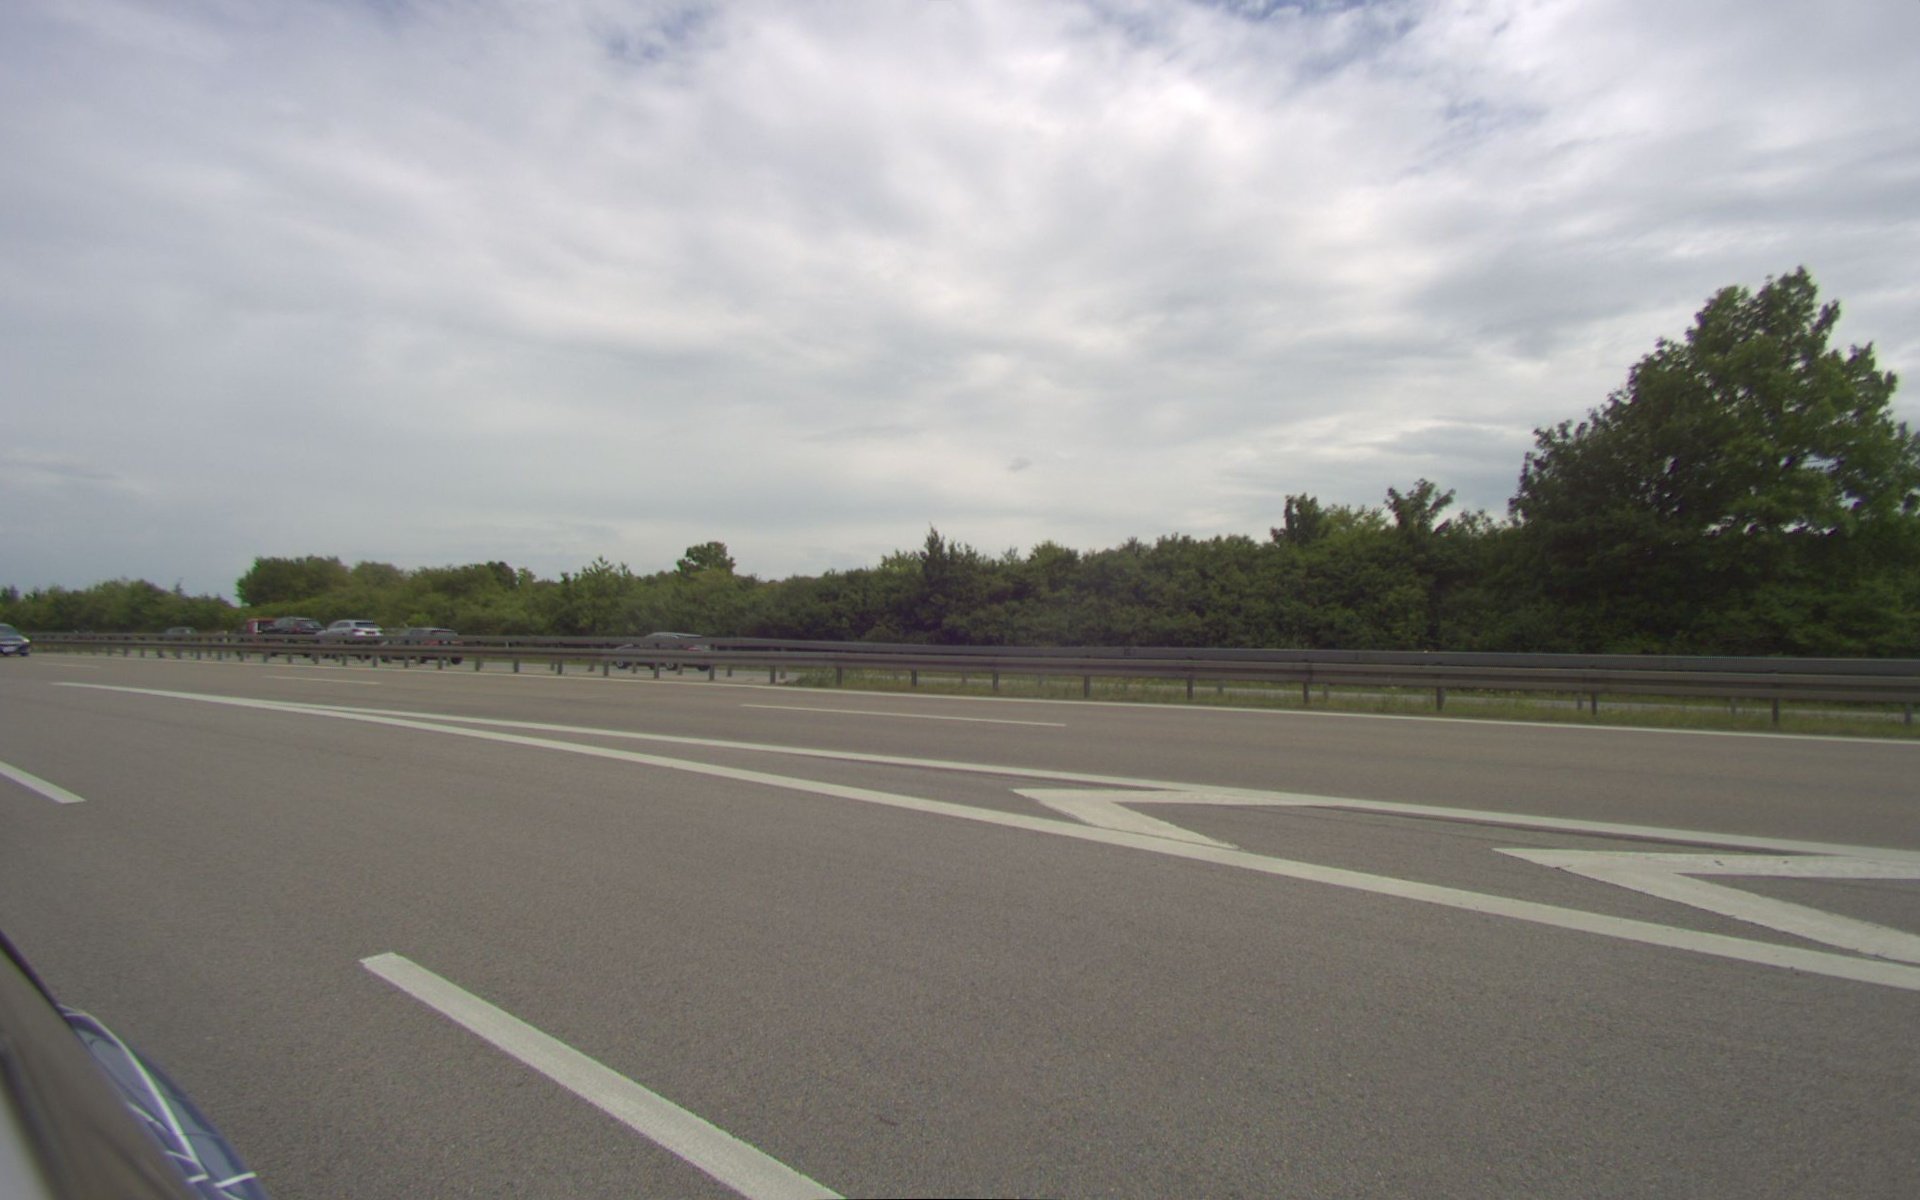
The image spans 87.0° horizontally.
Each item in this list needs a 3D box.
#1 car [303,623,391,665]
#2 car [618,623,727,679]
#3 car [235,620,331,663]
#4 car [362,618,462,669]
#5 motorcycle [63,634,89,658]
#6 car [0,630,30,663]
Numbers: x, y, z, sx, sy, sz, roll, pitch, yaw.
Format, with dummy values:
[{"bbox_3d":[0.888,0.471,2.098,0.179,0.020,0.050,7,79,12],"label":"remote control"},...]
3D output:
[{"bbox_3d":[-32.643,2.306,53.885,4.861,2.149,2.145,-1,-2,33],"label":"car"},{"bbox_3d":[-11.280,1.960,39.617,3.987,2.029,1.978,-1,0,32],"label":"car"},{"bbox_3d":[-38.598,2.332,57.625,6.658,2.348,2.145,-1,-2,34],"label":"car"},{"bbox_3d":[-22.733,1.766,41.972,3.988,2.029,1.978,-1,-2,33],"label":"car"},{"bbox_3d":[-55.218,2.856,63.187,2.389,1.455,0.652,-1,0,34],"label":"motorcycle"},{"bbox_3d":[-43.530,2.065,45.343,4.785,1.435,1.707,-1,-2,35],"label":"car"}]
